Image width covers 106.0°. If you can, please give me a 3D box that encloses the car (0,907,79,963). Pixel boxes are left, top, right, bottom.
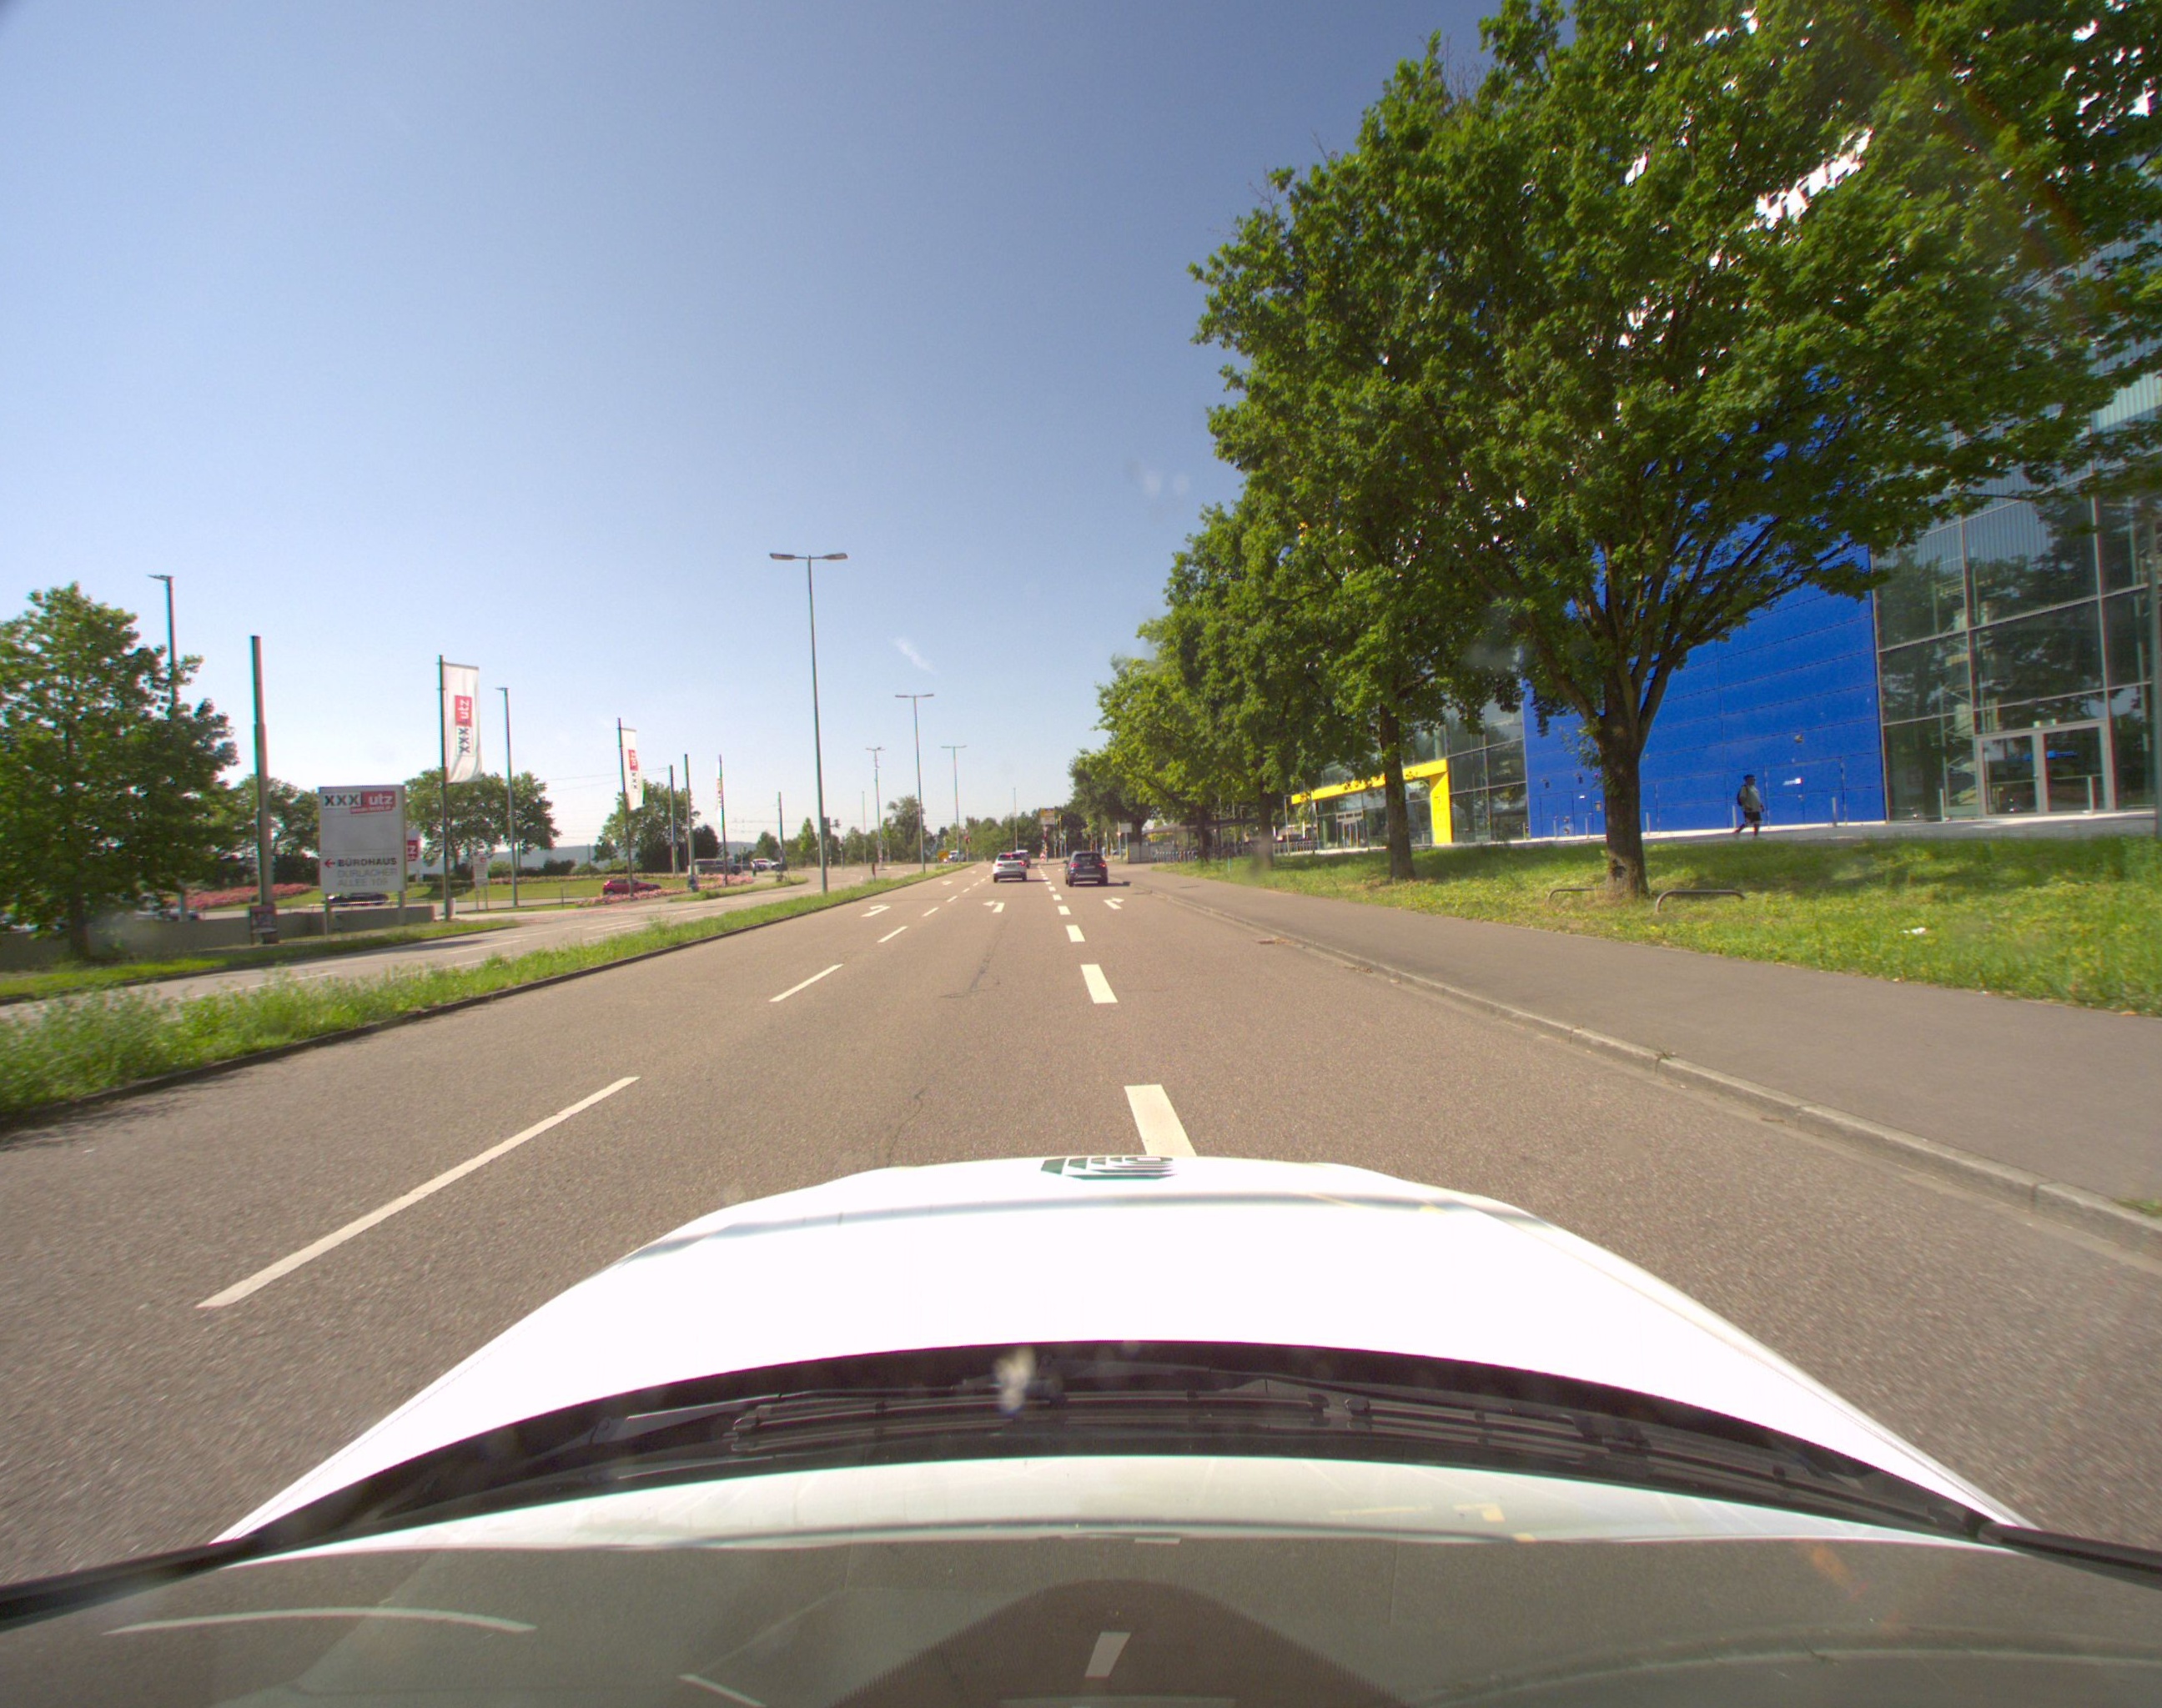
[{"bbox_3d":[-35.603,2.692,26.044,4.407,1.627,1.867,-3,-1,-6],"label":"car"}]

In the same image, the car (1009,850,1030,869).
[{"bbox_3d":[-5.361,0.454,71.062,1.703,1.573,4.167,-4,1,-5],"label":"car"}]

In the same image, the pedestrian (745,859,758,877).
[{"bbox_3d":[-33.985,1.432,84.067,0.835,1.707,0.908,-4,0,8],"label":"pedestrian"}]

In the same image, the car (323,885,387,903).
[{"bbox_3d":[-63.165,3.496,70.874,3.841,1.330,1.726,-3,-1,-5],"label":"car"}]

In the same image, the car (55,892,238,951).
[{"bbox_3d":[-35.627,2.538,31.155,4.405,1.842,1.942,-3,-1,-5],"label":"car"}]

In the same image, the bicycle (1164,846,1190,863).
[{"bbox_3d":[6.794,0.037,57.822,1.755,1.096,0.451,-3,0,-4],"label":"bicycle"}]

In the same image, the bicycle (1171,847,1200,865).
[{"bbox_3d":[6.874,0.130,53.660,1.755,1.096,0.451,-3,0,-4],"label":"bicycle"}]

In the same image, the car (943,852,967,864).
[{"bbox_3d":[-17.299,0.483,111.755,1.781,1.547,4.102,-3,0,14],"label":"car"}]

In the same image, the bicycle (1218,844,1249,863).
[{"bbox_3d":[9.499,-0.031,50.736,1.755,1.096,0.451,-3,0,-4],"label":"bicycle"}]

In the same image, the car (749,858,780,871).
[{"bbox_3d":[-40.103,1.373,103.122,3.341,1.500,1.406,-3,-1,-8],"label":"car"}]

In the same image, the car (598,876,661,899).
[{"bbox_3d":[-37.610,2.780,67.949,4.181,1.605,1.821,-3,-1,-9],"label":"car"}]

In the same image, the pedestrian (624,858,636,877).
[{"bbox_3d":[-47.664,1.441,86.020,0.713,1.972,0.918,-3,-1,1],"label":"pedestrian"}]

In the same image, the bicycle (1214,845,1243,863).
[{"bbox_3d":[9.542,0.001,52.734,1.755,1.096,0.451,-3,0,-4],"label":"bicycle"}]

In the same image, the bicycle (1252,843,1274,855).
[{"bbox_3d":[14.486,-0.394,64.797,1.557,0.843,0.433,-3,0,-2],"label":"bicycle"}]

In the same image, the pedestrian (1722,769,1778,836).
[{"bbox_3d":[16.932,-1.293,20.638,0.687,1.612,0.769,-4,0,-7],"label":"pedestrian"}]

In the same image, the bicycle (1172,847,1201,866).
[{"bbox_3d":[6.839,0.157,52.768,1.755,1.096,0.451,-3,0,-4],"label":"bicycle"}]

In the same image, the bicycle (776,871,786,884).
[{"bbox_3d":[-24.433,1.949,66.279,0.330,1.023,1.639,-4,-1,-7],"label":"bicycle"}]

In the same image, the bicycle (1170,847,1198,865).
[{"bbox_3d":[6.872,0.122,54.231,1.755,1.096,0.451,-3,0,-4],"label":"bicycle"}]

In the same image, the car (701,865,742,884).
[{"bbox_3d":[-40.477,2.319,91.630,3.955,1.925,1.825,-1,1,17],"label":"car"}]

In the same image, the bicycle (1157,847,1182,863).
[{"bbox_3d":[6.657,0.095,61.076,1.755,1.096,0.451,-3,0,-4],"label":"bicycle"}]

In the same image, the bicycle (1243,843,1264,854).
[{"bbox_3d":[14.242,-0.449,67.306,1.558,0.843,0.433,-3,0,-4],"label":"bicycle"}]

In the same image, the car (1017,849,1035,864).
[{"bbox_3d":[-5.805,0.259,86.142,1.738,1.448,4.383,-2,0,-4],"label":"car"}]

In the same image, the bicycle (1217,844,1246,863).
[{"bbox_3d":[9.583,-0.011,51.846,1.755,1.096,0.451,-3,0,-4],"label":"bicycle"}]

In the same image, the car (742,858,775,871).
[{"bbox_3d":[-39.400,1.293,99.526,3.382,1.500,1.406,-3,-1,-6],"label":"car"}]

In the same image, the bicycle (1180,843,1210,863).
[{"bbox_3d":[7.056,-0.048,50.541,1.755,1.096,0.451,-4,0,-4],"label":"bicycle"}]

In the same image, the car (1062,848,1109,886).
[{"bbox_3d":[0.142,0.552,36.241,1.668,1.523,3.369,-2,0,-6],"label":"car"}]

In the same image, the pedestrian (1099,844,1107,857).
[{"bbox_3d":[2.737,-0.413,99.449,0.768,1.510,1.010,-3,1,7],"label":"pedestrian"}]

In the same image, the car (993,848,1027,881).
[{"bbox_3d":[-3.704,0.509,42.969,1.627,1.498,3.866,-2,2,-3],"label":"car"}]

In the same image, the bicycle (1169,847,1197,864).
[{"bbox_3d":[7.055,0.094,56.362,1.755,1.096,0.451,-3,0,-4],"label":"bicycle"}]

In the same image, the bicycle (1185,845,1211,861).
[{"bbox_3d":[8.481,-0.071,58.873,1.755,1.096,0.451,-3,0,-4],"label":"bicycle"}]

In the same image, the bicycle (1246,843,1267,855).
[{"bbox_3d":[14.310,-0.414,66.444,1.557,0.843,0.433,-3,0,-1],"label":"bicycle"}]

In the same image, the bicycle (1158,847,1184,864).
[{"bbox_3d":[6.639,0.099,60.072,1.755,1.096,0.451,-3,0,-4],"label":"bicycle"}]

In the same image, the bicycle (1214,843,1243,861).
[{"bbox_3d":[9.787,-0.149,53.962,1.755,1.096,0.451,-3,0,-4],"label":"bicycle"}]
